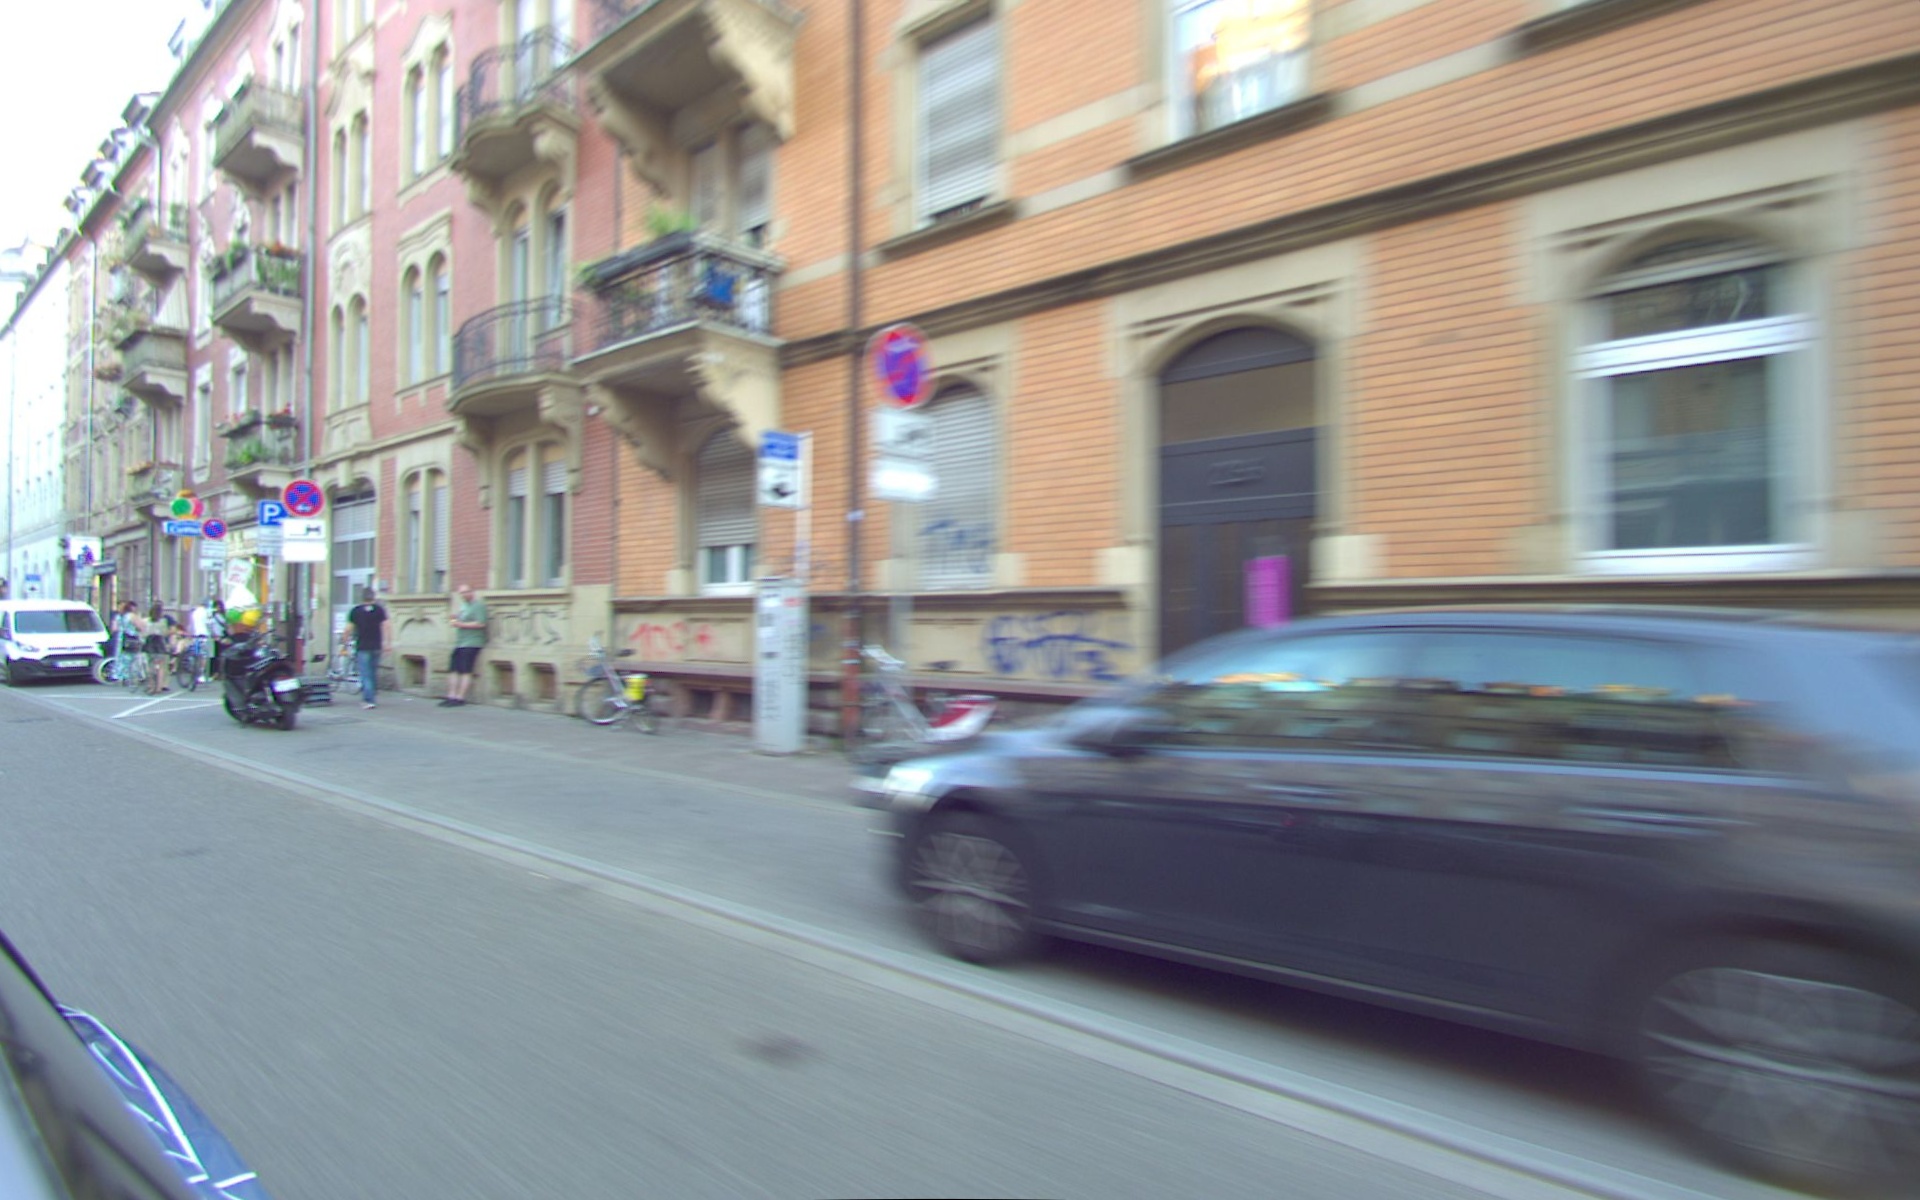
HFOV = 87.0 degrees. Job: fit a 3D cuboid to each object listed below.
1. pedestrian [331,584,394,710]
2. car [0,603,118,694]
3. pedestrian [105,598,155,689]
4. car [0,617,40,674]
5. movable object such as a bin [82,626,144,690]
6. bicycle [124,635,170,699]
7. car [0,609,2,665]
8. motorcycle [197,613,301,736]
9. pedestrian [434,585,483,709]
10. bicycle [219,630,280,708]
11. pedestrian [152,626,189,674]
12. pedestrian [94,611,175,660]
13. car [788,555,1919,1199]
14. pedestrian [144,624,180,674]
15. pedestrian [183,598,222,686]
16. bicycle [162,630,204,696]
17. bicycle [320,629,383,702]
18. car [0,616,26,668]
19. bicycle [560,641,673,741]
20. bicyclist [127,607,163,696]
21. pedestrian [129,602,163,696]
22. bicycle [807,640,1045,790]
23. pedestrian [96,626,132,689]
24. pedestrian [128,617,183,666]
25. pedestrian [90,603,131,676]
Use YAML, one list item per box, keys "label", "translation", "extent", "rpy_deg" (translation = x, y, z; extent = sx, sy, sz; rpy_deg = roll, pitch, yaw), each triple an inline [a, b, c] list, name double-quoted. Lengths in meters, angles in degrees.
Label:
- label: "pedestrian"
  translation: [-8.996, 0.680, 15.218]
  extent: [0.673, 1.824, 0.963]
  rpy_deg: [0, 0, -39]
- label: "car"
  translation: [-20.194, 0.972, 22.228]
  extent: [4.582, 1.802, 1.753]
  rpy_deg: [-1, -1, 39]
- label: "pedestrian"
  translation: [-16.972, 0.876, 20.693]
  extent: [0.718, 1.827, 0.593]
  rpy_deg: [-1, 0, 32]
- label: "car"
  translation: [-27.743, 1.278, 29.002]
  extent: [3.792, 1.541, 1.687]
  rpy_deg: [-1, -2, 42]
- label: "movable object such as a bin"
  translation: [-17.578, 1.189, 21.008]
  extent: [0.776, 1.260, 0.878]
  rpy_deg: [-1, 0, 41]
- label: "bicycle"
  translation: [-14.789, 1.194, 18.400]
  extent: [1.520, 1.076, 0.460]
  rpy_deg: [-1, 0, 44]
- label: "car"
  translation: [-35.227, 1.298, 35.420]
  extent: [4.901, 1.897, 1.908]
  rpy_deg: [-1, -2, 40]
- label: "motorcycle"
  translation: [-8.971, 0.884, 12.743]
  extent: [2.014, 1.415, 0.677]
  rpy_deg: [-1, 0, 43]
- label: "pedestrian"
  translation: [-7.485, 0.680, 15.104]
  extent: [0.642, 1.803, 0.458]
  rpy_deg: [-1, 0, 44]
- label: "bicycle"
  translation: [-11.648, 1.101, 16.568]
  extent: [1.837, 1.168, 0.407]
  rpy_deg: [-1, 0, 42]
- label: "pedestrian"
  translation: [-19.752, 1.239, 25.314]
  extent: [0.572, 1.148, 0.625]
  rpy_deg: [-1, 0, 39]
- label: "pedestrian"
  translation: [-21.512, 0.907, 26.388]
  extent: [0.641, 1.212, 1.546]
  rpy_deg: [-1, 0, 38]
- label: "car"
  translation: [1.410, 0.678, 3.951]
  extent: [4.168, 1.482, 1.819]
  rpy_deg: [-1, -2, 39]
- label: "pedestrian"
  translation: [-20.413, 1.242, 25.887]
  extent: [0.585, 1.261, 0.613]
  rpy_deg: [-1, 0, 39]
- label: "pedestrian"
  translation: [-16.117, 0.870, 21.531]
  extent: [0.589, 1.827, 0.722]
  rpy_deg: [0, 0, -31]
- label: "bicycle"
  translation: [-14.876, 1.176, 19.355]
  extent: [0.460, 1.164, 2.002]
  rpy_deg: [0, 0, -42]
- label: "bicycle"
  translation: [-10.476, 1.092, 17.399]
  extent: [1.837, 1.168, 0.407]
  rpy_deg: [-1, 0, 42]
- label: "car"
  translation: [-31.128, 1.320, 32.081]
  extent: [3.969, 1.608, 1.906]
  rpy_deg: [-1, -2, 42]
- label: "bicycle"
  translation: [-4.019, 1.027, 11.776]
  extent: [1.740, 1.038, 0.443]
  rpy_deg: [-1, 0, 42]
- label: "bicyclist"
  translation: [-14.923, 0.931, 18.531]
  extent: [0.487, 1.602, 0.460]
  rpy_deg: [-1, 0, 44]
- label: "pedestrian"
  translation: [-15.192, 0.902, 18.892]
  extent: [0.350, 1.722, 0.414]
  rpy_deg: [-1, 0, 35]
- label: "bicycle"
  translation: [-0.324, 0.932, 8.768]
  extent: [2.020, 1.109, 0.743]
  rpy_deg: [-1, 0, 34]
- label: "pedestrian"
  translation: [-17.599, 1.189, 21.045]
  extent: [0.652, 1.260, 0.473]
  rpy_deg: [-1, 0, 41]
- label: "pedestrian"
  translation: [-20.866, 1.069, 26.257]
  extent: [0.503, 1.212, 1.029]
  rpy_deg: [-1, 0, 38]
- label: "pedestrian"
  translation: [-20.701, 0.953, 24.675]
  extent: [0.610, 1.743, 0.587]
  rpy_deg: [0, 0, -21]
